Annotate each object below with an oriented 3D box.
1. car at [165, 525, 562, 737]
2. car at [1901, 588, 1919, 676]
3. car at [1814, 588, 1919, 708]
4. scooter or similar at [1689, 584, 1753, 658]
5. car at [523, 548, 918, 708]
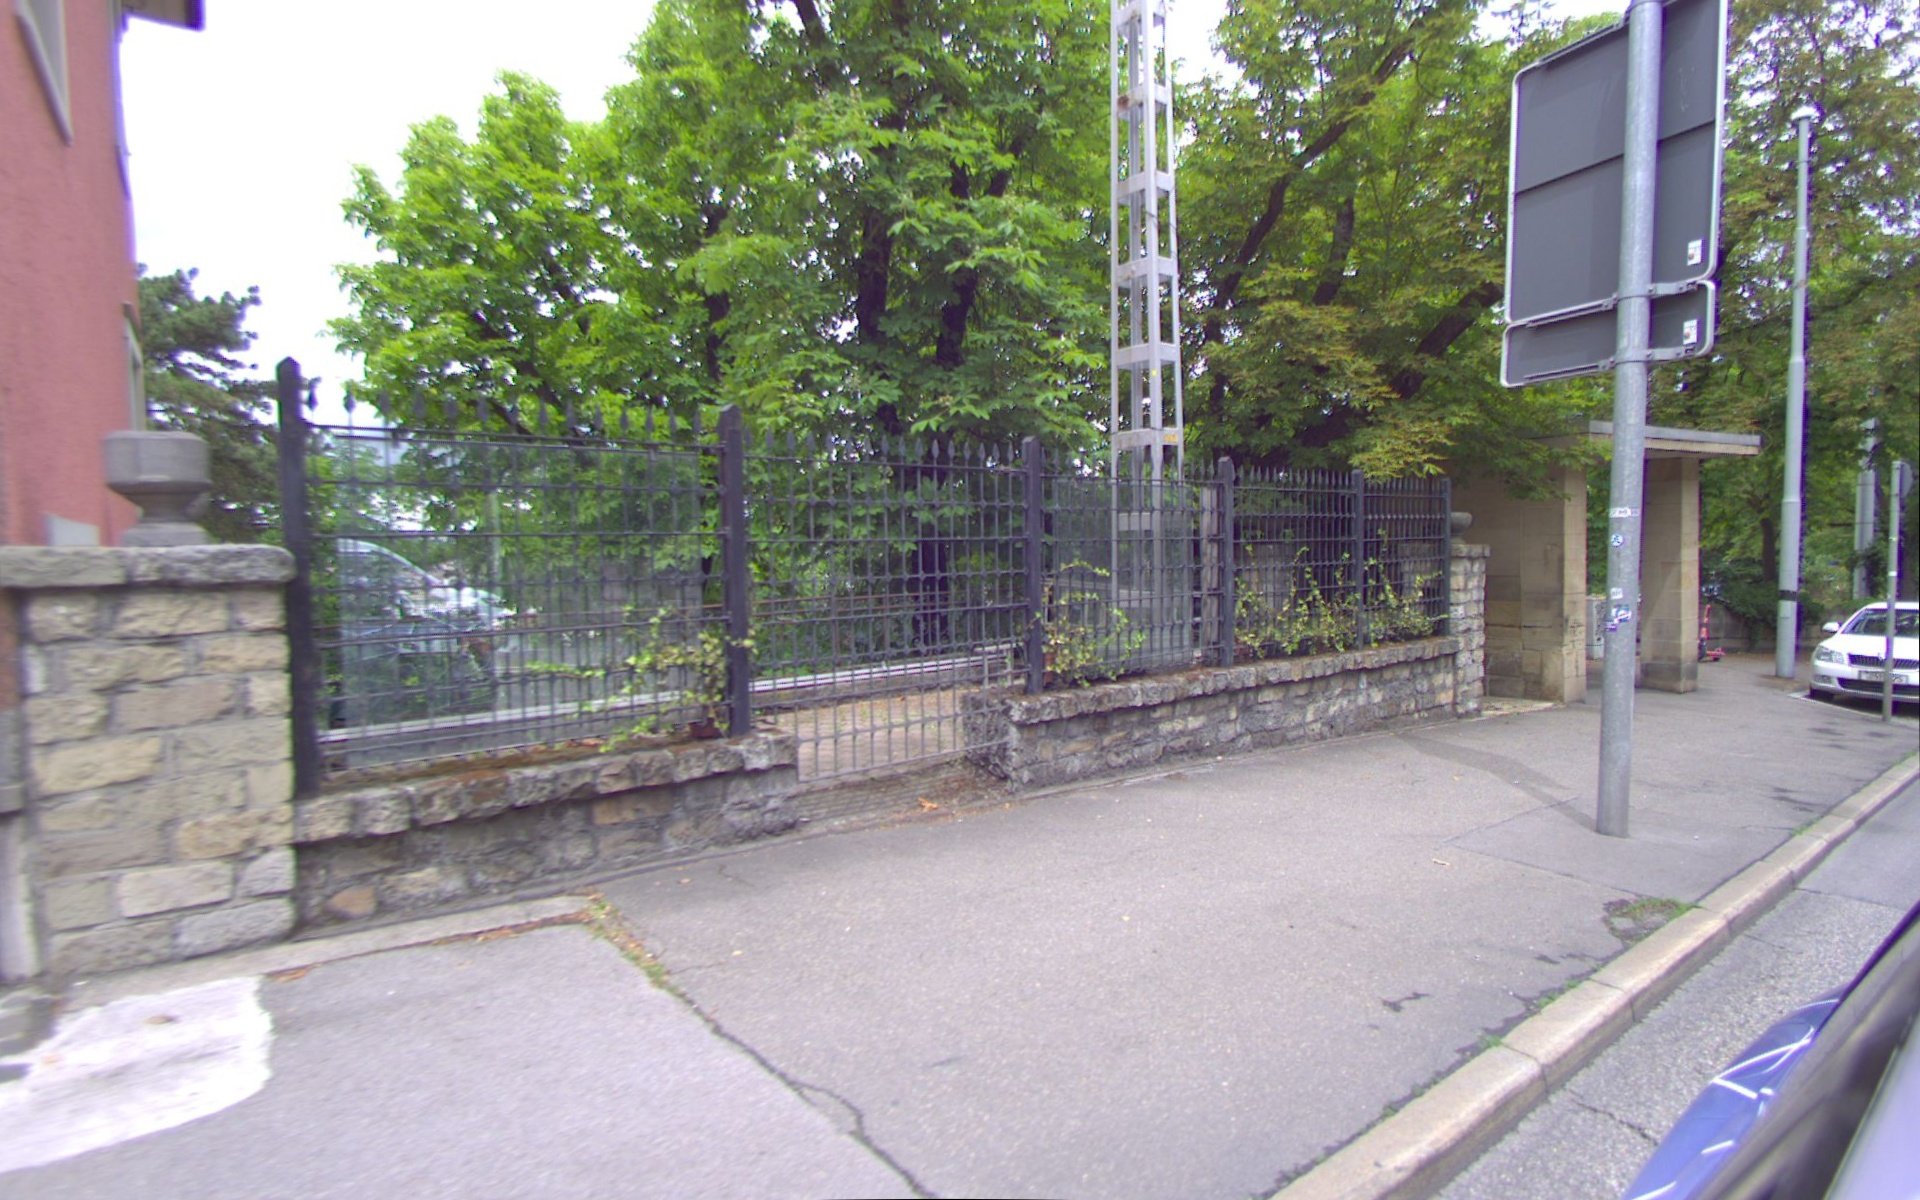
[{"bbox_3d":[-5.627,0.210,9.691,3.089,1.704,1.439,-2,1,-39],"label":"car"},{"bbox_3d":[18.377,0.634,18.038,3.965,1.489,1.720,1,4,-39],"label":"car"},{"bbox_3d":[13.737,0.630,14.288,4.285,1.479,1.680,0,3,-38],"label":"car"},{"bbox_3d":[13.885,0.377,18.457,1.146,1.275,0.519,1,3,-35],"label":"scooter or similar"},{"bbox_3d":[-2.667,0.275,11.630,3.926,1.526,1.999,1,0,-38],"label":"car"}]
